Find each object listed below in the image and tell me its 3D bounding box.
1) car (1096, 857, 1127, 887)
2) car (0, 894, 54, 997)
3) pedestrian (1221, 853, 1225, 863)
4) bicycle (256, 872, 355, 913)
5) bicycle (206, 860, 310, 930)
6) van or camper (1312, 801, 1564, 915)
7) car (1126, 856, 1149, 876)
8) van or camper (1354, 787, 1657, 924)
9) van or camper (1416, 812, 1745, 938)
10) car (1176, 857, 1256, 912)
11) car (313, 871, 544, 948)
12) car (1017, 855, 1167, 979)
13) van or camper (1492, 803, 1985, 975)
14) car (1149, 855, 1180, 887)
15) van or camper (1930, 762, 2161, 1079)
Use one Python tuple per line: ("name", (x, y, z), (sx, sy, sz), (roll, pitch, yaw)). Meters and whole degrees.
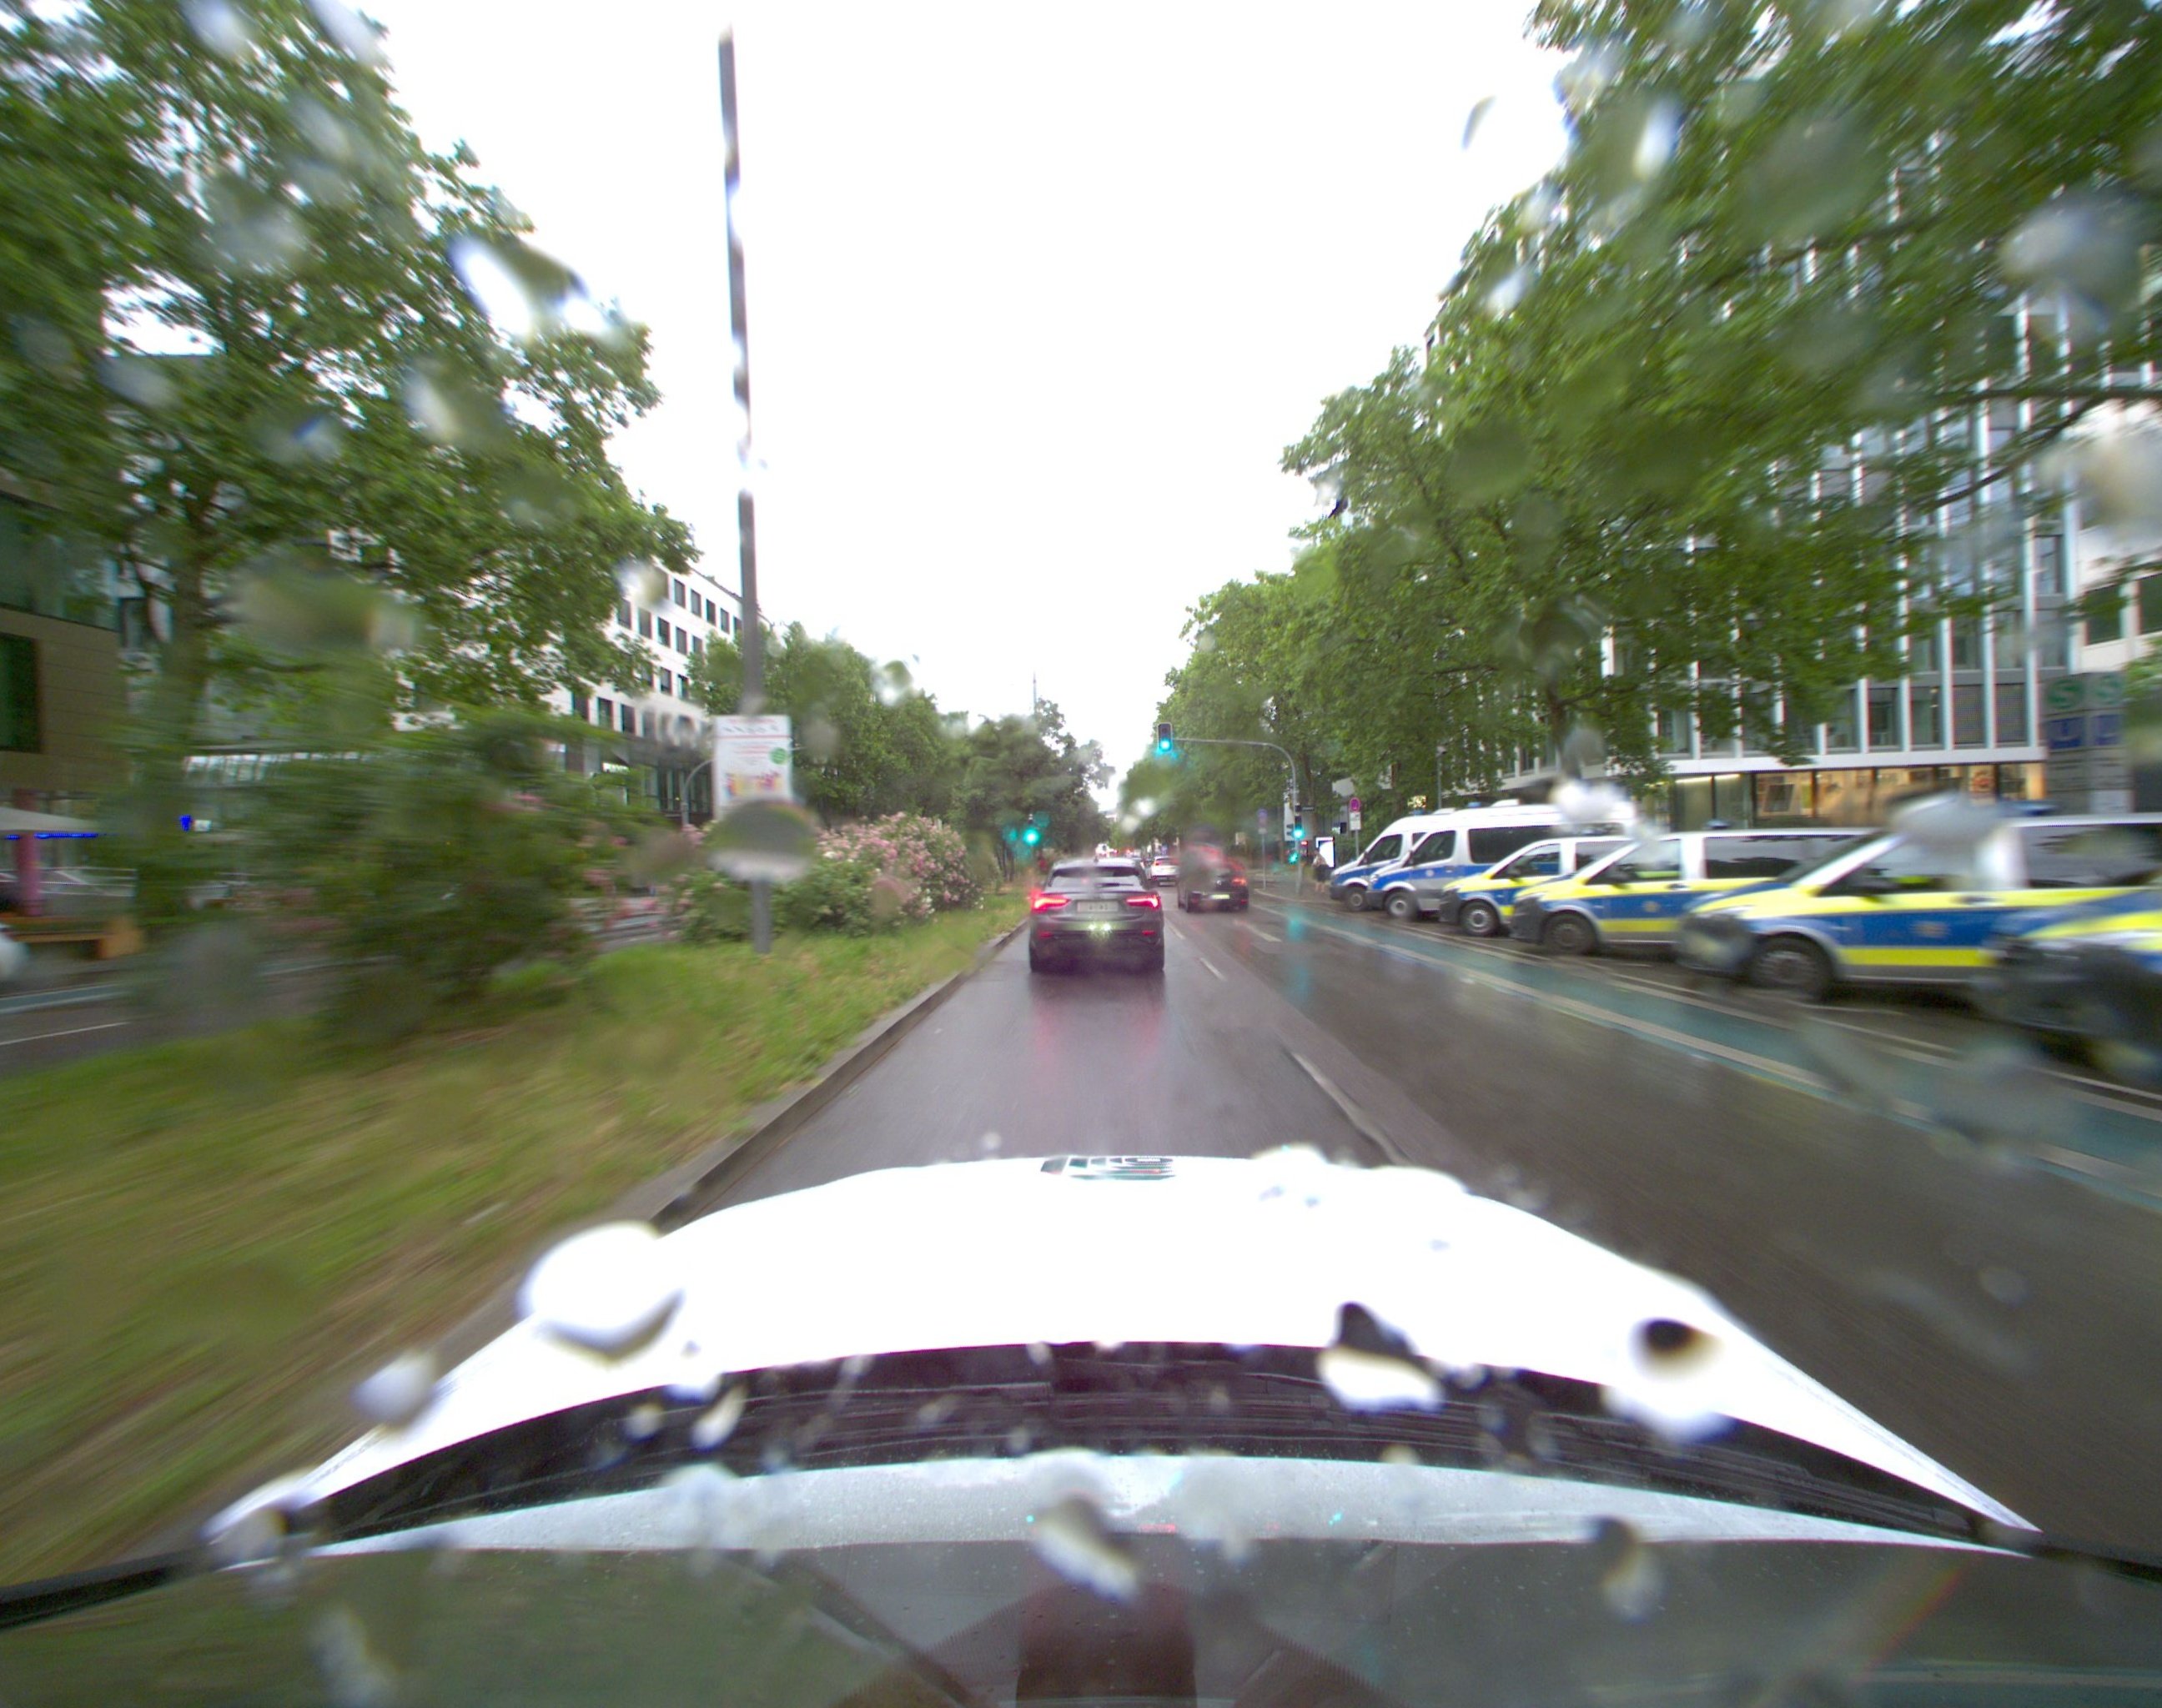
("car", (1.778, 1.016, 47.625), (1.715, 1.577, 3.963), (-2, 0, 1))
("car", (-15.841, 1.260, 9.453), (1.986, 1.370, 4.541), (1, 0, 2))
("pedestrian", (25.318, 0.739, 144.939), (0.648, 1.816, 0.656), (-1, -1, 1))
("bicycle", (-25.401, 1.249, 26.693), (2.383, 1.246, 0.688), (-2, 0, -7))
("bicycle", (-25.009, 1.223, 24.778), (2.379, 2.013, 0.689), (-2, 0, -1))
("van or camper", (9.369, 0.136, 21.736), (5.741, 2.677, 2.161), (-2, -1, 39))
("car", (5.374, 1.123, 78.170), (1.986, 1.750, 4.002), (-2, 0, 2))
("van or camper", (9.399, 0.090, 18.372), (5.736, 2.680, 2.013), (-2, 0, 37))
("van or camper", (9.174, 0.413, 15.270), (4.952, 2.014, 2.013), (-2, -2, 37))
("car", (3.919, 0.836, 24.274), (1.759, 1.413, 4.001), (-2, 0, 1))
("car", (-15.680, 1.250, 19.983), (1.987, 1.509, 4.517), (-2, 0, 0))
("car", (0.258, 0.801, 12.569), (1.855, 1.532, 4.530), (-1, 0, 3))
("van or camper", (8.964, 0.441, 11.761), (5.142, 1.992, 2.013), (-1, -1, 36))
("car", (4.596, 0.914, 45.113), (1.428, 1.685, 2.980), (-2, 0, 2))
("van or camper", (8.952, 0.373, 4.903), (5.042, 2.025, 2.119), (-2, 0, 39))
